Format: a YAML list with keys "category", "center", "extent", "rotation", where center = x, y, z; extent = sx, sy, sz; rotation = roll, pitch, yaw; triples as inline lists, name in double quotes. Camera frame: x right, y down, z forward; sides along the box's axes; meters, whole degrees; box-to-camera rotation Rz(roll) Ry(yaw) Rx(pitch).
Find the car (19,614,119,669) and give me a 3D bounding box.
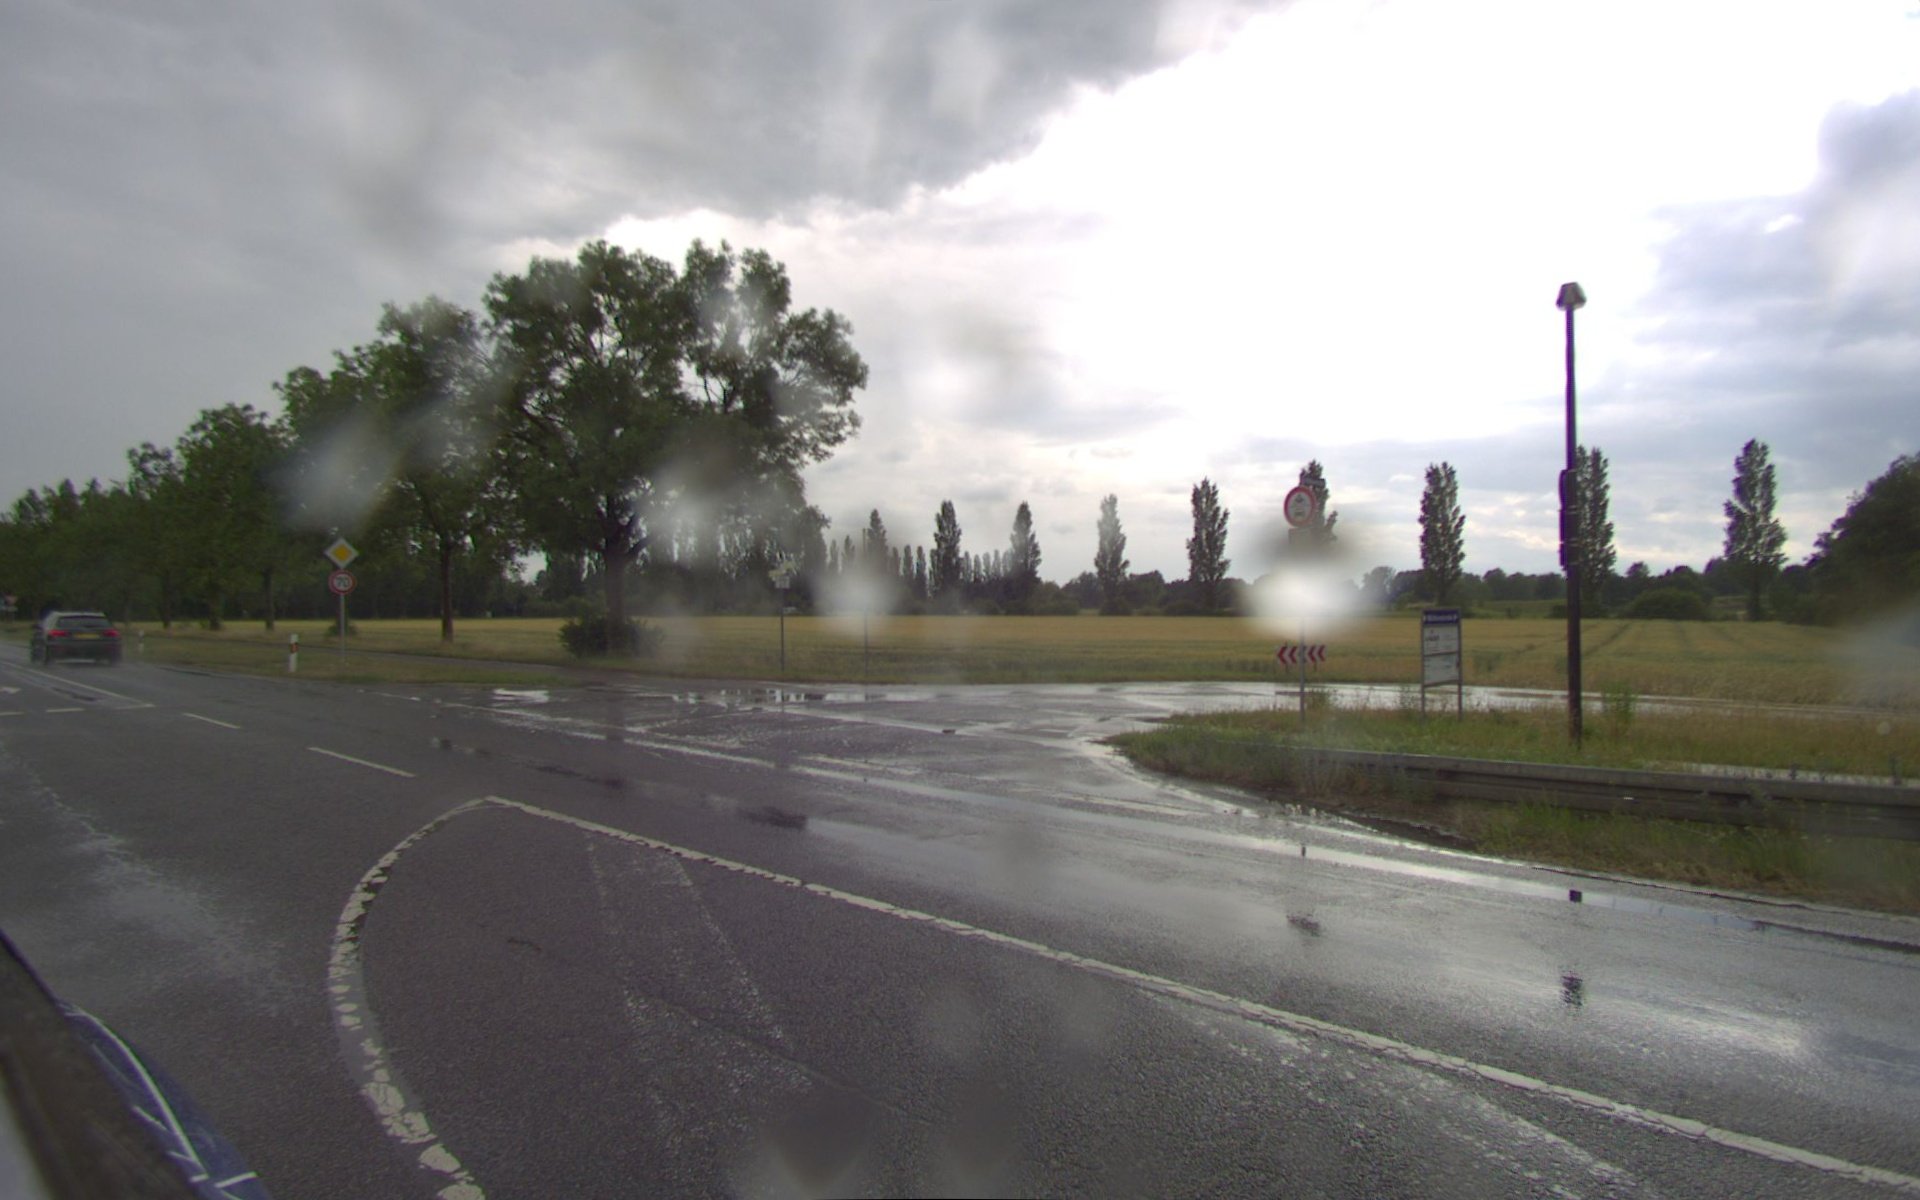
- category: "car"
  center: [-26.869, 1.224, 30.492]
  extent: [4.140, 1.535, 1.750]
  rotation: [-1, -2, 42]
